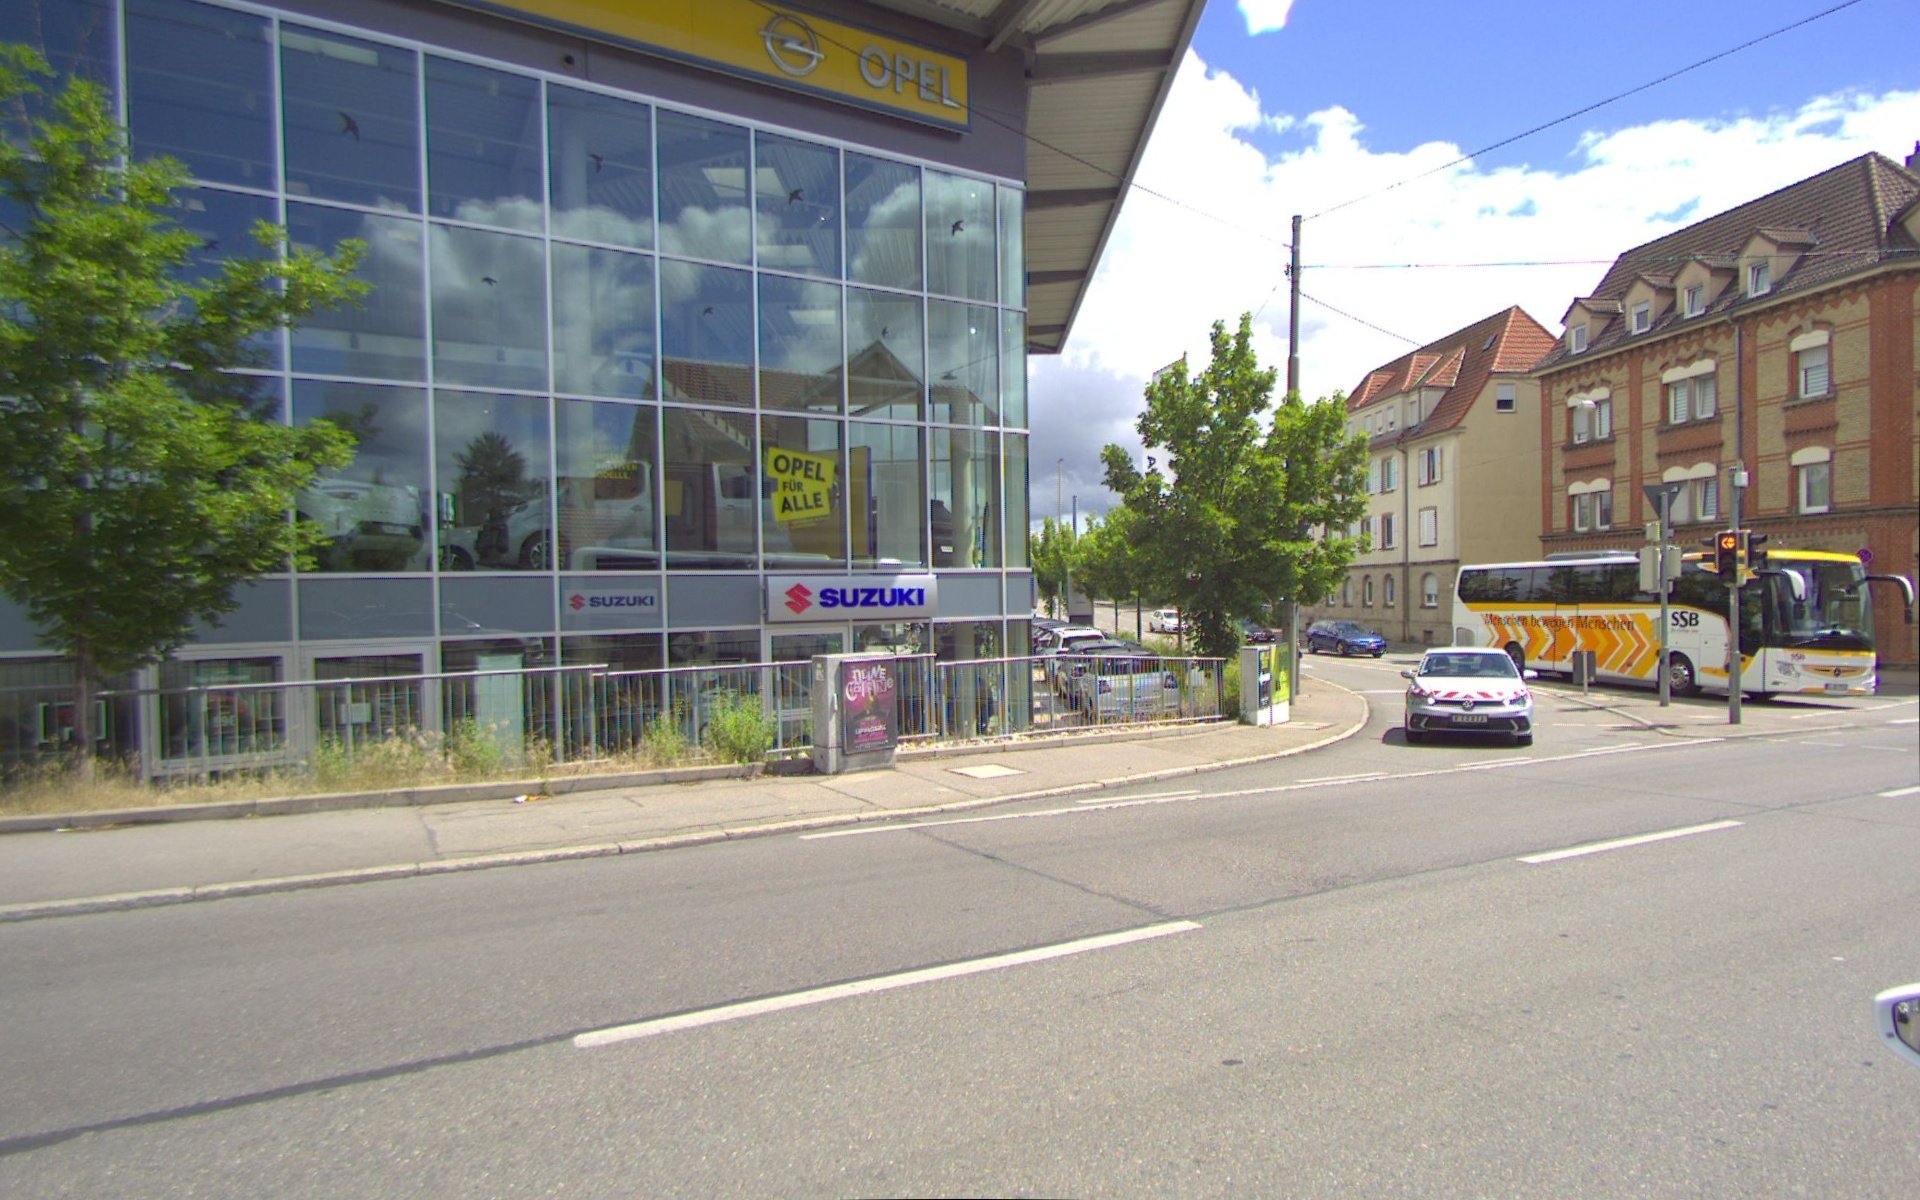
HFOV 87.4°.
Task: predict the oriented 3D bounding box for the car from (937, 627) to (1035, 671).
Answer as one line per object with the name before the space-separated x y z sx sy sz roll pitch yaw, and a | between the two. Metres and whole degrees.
car | 0.920 1.778 36.901 3.432 1.467 1.799 -1 0 -3

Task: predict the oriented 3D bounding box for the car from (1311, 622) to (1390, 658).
car | 16.838 1.688 43.516 1.717 1.428 3.999 1 -1 -3

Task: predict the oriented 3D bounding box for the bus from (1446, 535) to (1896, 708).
bus | 18.290 0.522 27.702 2.719 3.670 12.253 1 -1 -6

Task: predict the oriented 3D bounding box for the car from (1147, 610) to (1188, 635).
car | 14.072 1.531 68.375 1.874 1.574 3.999 1 -1 -2

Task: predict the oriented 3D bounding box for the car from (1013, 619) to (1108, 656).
car | 4.498 1.658 45.143 3.925 1.574 1.806 1 -1 -7

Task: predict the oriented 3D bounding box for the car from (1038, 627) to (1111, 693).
car | 3.286 1.686 29.275 1.620 1.703 3.499 -1 0 -2

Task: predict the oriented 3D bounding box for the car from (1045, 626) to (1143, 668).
car | 4.971 1.726 37.471 3.430 1.497 1.800 1 -1 1

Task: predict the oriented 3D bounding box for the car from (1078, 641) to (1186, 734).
car | 3.396 1.694 20.384 1.648 1.582 3.365 -1 0 1

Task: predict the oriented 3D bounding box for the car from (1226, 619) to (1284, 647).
car | 16.113 1.772 55.024 1.874 1.428 3.999 1 -1 -2

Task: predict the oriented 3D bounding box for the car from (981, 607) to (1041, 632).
car | 3.412 1.323 67.558 3.922 1.574 1.807 1 -1 -1

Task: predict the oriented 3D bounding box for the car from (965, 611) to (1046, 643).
car | 2.363 1.408 52.791 3.930 1.574 1.804 1 -1 -12

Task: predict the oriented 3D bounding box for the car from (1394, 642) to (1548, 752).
car | 7.972 1.457 15.979 1.848 1.437 3.619 -2 -2 22

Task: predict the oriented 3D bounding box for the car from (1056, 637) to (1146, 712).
car | 3.366 1.762 24.569 1.584 1.547 3.499 -1 0 -2

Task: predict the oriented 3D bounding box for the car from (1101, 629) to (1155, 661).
car | 8.163 2.156 49.048 1.766 1.467 3.498 1 -1 -5
